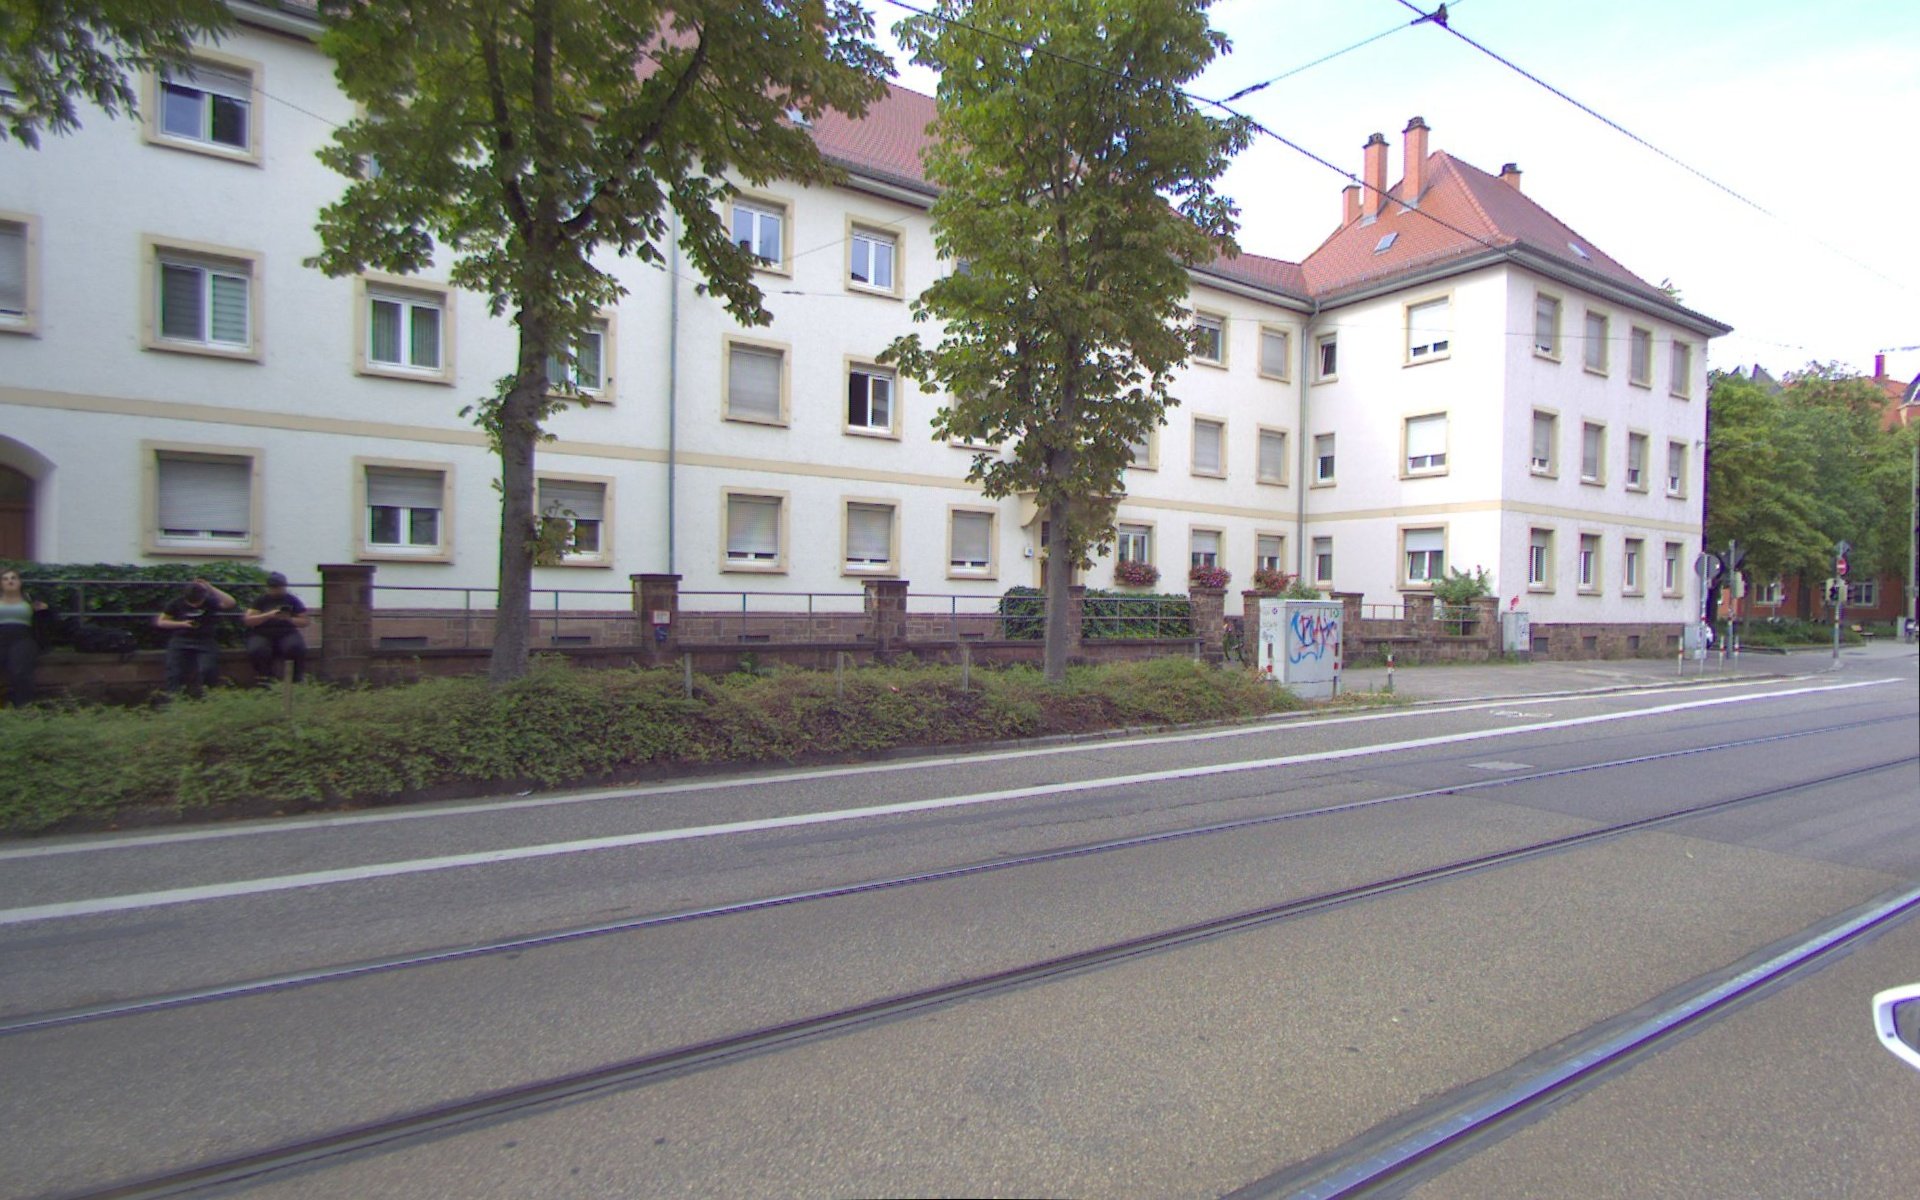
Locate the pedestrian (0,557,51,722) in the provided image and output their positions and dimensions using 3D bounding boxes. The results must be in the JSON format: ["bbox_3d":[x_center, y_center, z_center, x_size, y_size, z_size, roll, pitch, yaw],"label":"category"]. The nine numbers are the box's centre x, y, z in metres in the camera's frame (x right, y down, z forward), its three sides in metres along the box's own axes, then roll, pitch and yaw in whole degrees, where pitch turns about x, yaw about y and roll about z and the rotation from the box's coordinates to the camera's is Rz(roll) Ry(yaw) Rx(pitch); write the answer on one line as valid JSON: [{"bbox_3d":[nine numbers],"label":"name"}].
[{"bbox_3d":[-9.261,0.363,9.638,0.726,1.532,0.826,1,0,-38],"label":"pedestrian"}]

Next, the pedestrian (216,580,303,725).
[{"bbox_3d":[-7.584,0.540,10.869,0.726,1.484,0.826,1,0,-38],"label":"pedestrian"}]

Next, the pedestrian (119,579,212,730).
[{"bbox_3d":[-8.198,0.535,10.387,0.726,1.484,0.826,1,0,-38],"label":"pedestrian"}]

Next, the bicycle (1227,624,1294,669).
[{"bbox_3d":[6.660,1.008,22.202,1.654,0.927,0.475,-1,1,-33],"label":"bicycle"}]

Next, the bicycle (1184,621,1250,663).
[{"bbox_3d":[5.851,0.941,22.821,1.654,0.927,0.475,1,0,-33],"label":"bicycle"}]

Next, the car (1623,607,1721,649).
[{"bbox_3d":[32.203,1.283,45.580,1.804,1.743,4.162,2,-2,7],"label":"car"}]
